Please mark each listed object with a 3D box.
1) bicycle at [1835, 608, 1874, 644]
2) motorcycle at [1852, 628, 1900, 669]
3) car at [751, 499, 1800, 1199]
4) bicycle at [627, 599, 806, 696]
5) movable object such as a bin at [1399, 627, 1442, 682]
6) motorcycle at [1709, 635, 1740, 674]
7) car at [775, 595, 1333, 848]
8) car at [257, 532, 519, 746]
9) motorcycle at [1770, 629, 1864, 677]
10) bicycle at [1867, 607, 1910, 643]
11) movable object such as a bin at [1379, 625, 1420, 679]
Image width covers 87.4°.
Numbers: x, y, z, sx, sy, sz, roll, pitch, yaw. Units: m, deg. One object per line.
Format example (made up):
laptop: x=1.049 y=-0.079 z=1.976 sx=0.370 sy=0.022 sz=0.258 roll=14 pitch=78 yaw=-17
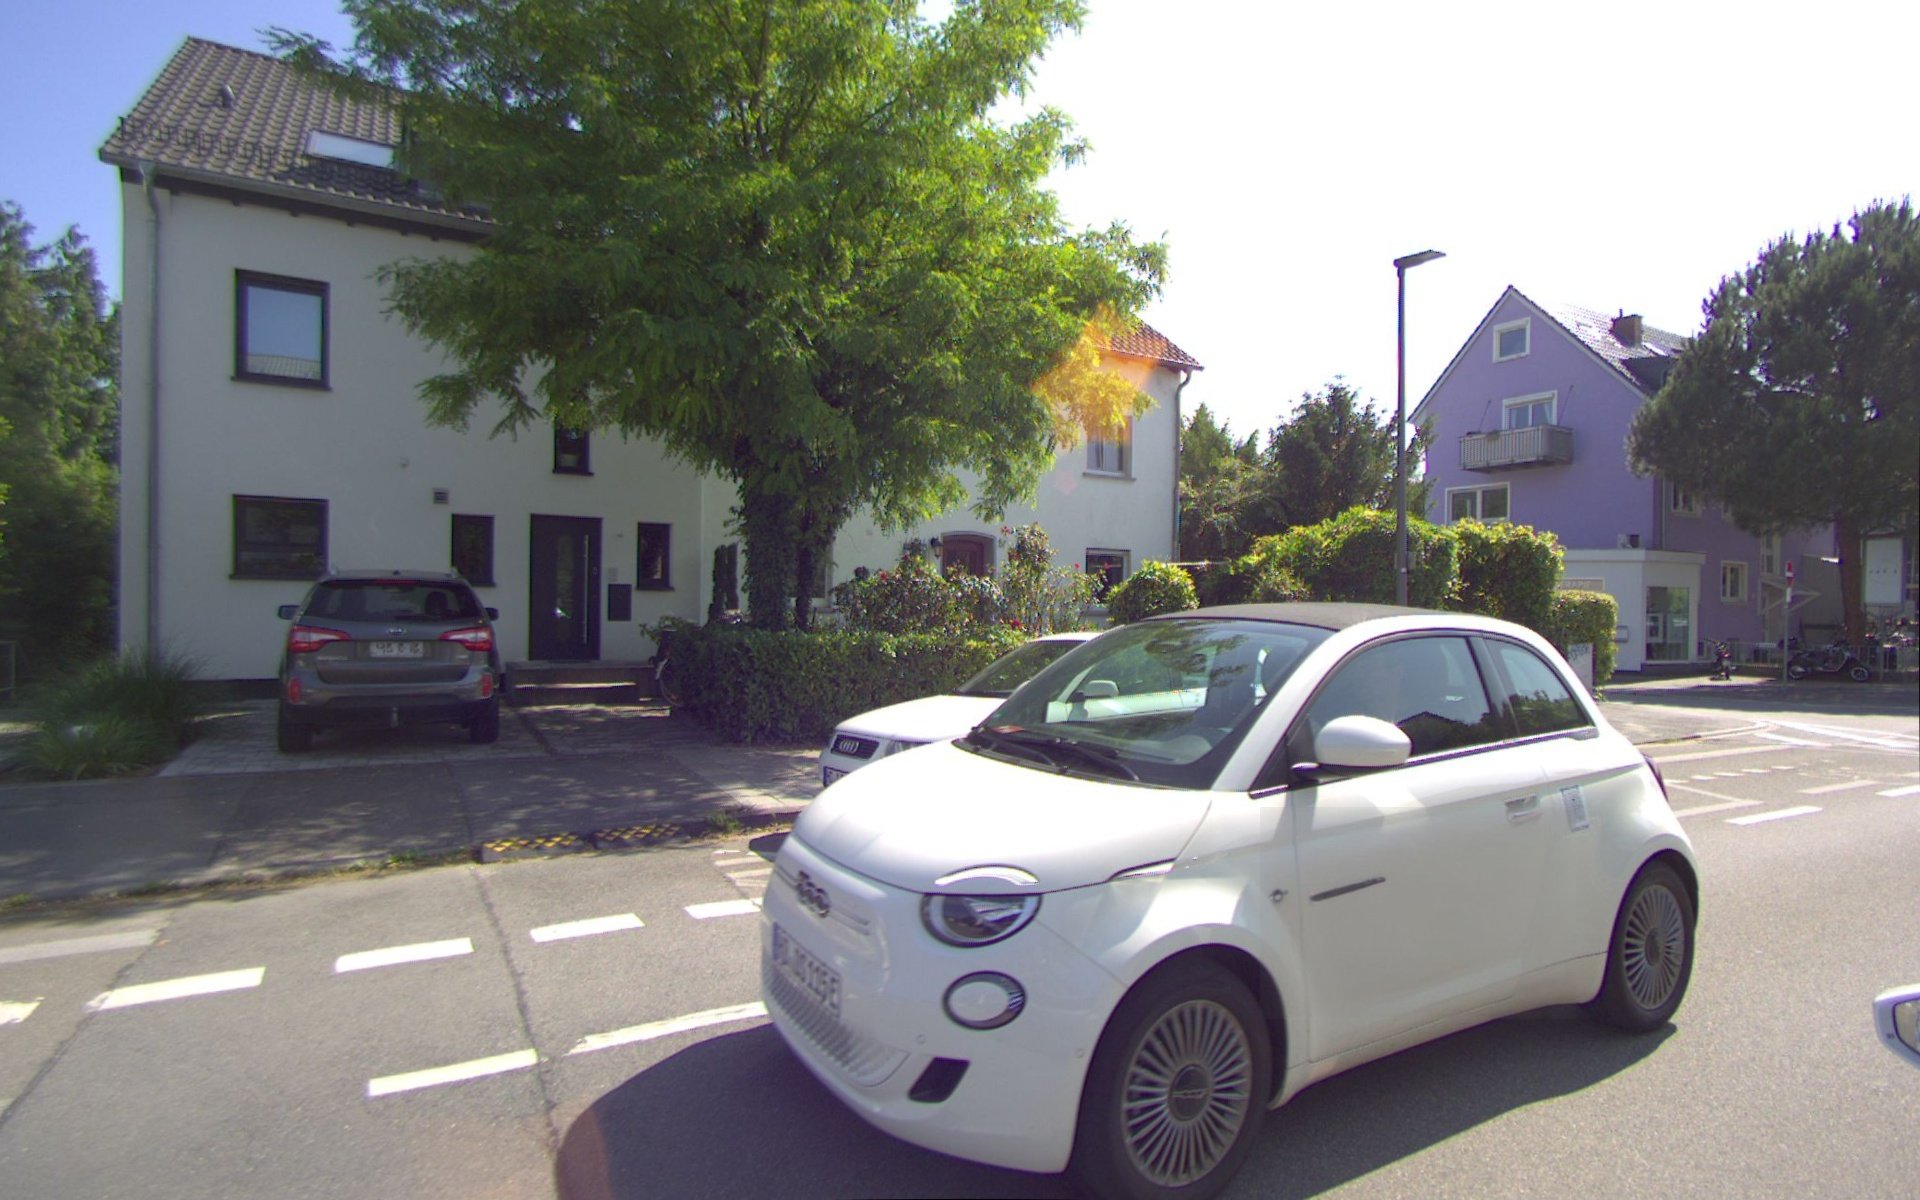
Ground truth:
bicycle: x=30.694 y=0.883 z=34.456 sx=1.428 sy=1.198 sz=0.534 roll=0 pitch=1 yaw=-29
motorcycle: x=27.924 y=1.487 z=30.607 sx=1.426 sy=1.197 sz=0.535 roll=2 pitch=0 yaw=-25
car: x=1.387 y=0.634 z=3.929 sx=3.954 sy=1.561 sz=1.723 roll=2 pitch=-1 yaw=-31
bicycle: x=-3.265 y=0.629 z=13.566 sx=2.225 sy=1.224 sz=0.688 roll=2 pitch=0 yaw=-30
movable object such as a bin: x=8.782 y=1.031 z=19.167 sx=0.519 sy=1.004 sz=0.484 roll=2 pitch=1 yaw=-9
motorcycle: x=21.742 y=1.535 z=28.579 sx=0.632 sy=1.004 sz=2.347 roll=2 pitch=1 yaw=36
car: x=0.792 y=0.808 z=7.625 sx=3.955 sy=1.459 sz=1.776 roll=2 pitch=-3 yaw=-31
car: x=-5.938 y=0.299 z=10.593 sx=1.976 sy=1.783 sz=3.969 roll=1 pitch=1 yaw=-29
motorcycle: x=23.387 y=1.433 z=27.452 sx=0.634 sy=1.197 sz=1.834 roll=2 pitch=0 yaw=-24
bicycle: x=31.641 y=0.855 z=34.241 sx=1.426 sy=1.197 sz=0.535 roll=2 pitch=0 yaw=-25
movable object such as a bin: x=8.629 y=1.012 z=19.720 sx=0.519 sy=1.004 sz=0.484 roll=2 pitch=1 yaw=-9
